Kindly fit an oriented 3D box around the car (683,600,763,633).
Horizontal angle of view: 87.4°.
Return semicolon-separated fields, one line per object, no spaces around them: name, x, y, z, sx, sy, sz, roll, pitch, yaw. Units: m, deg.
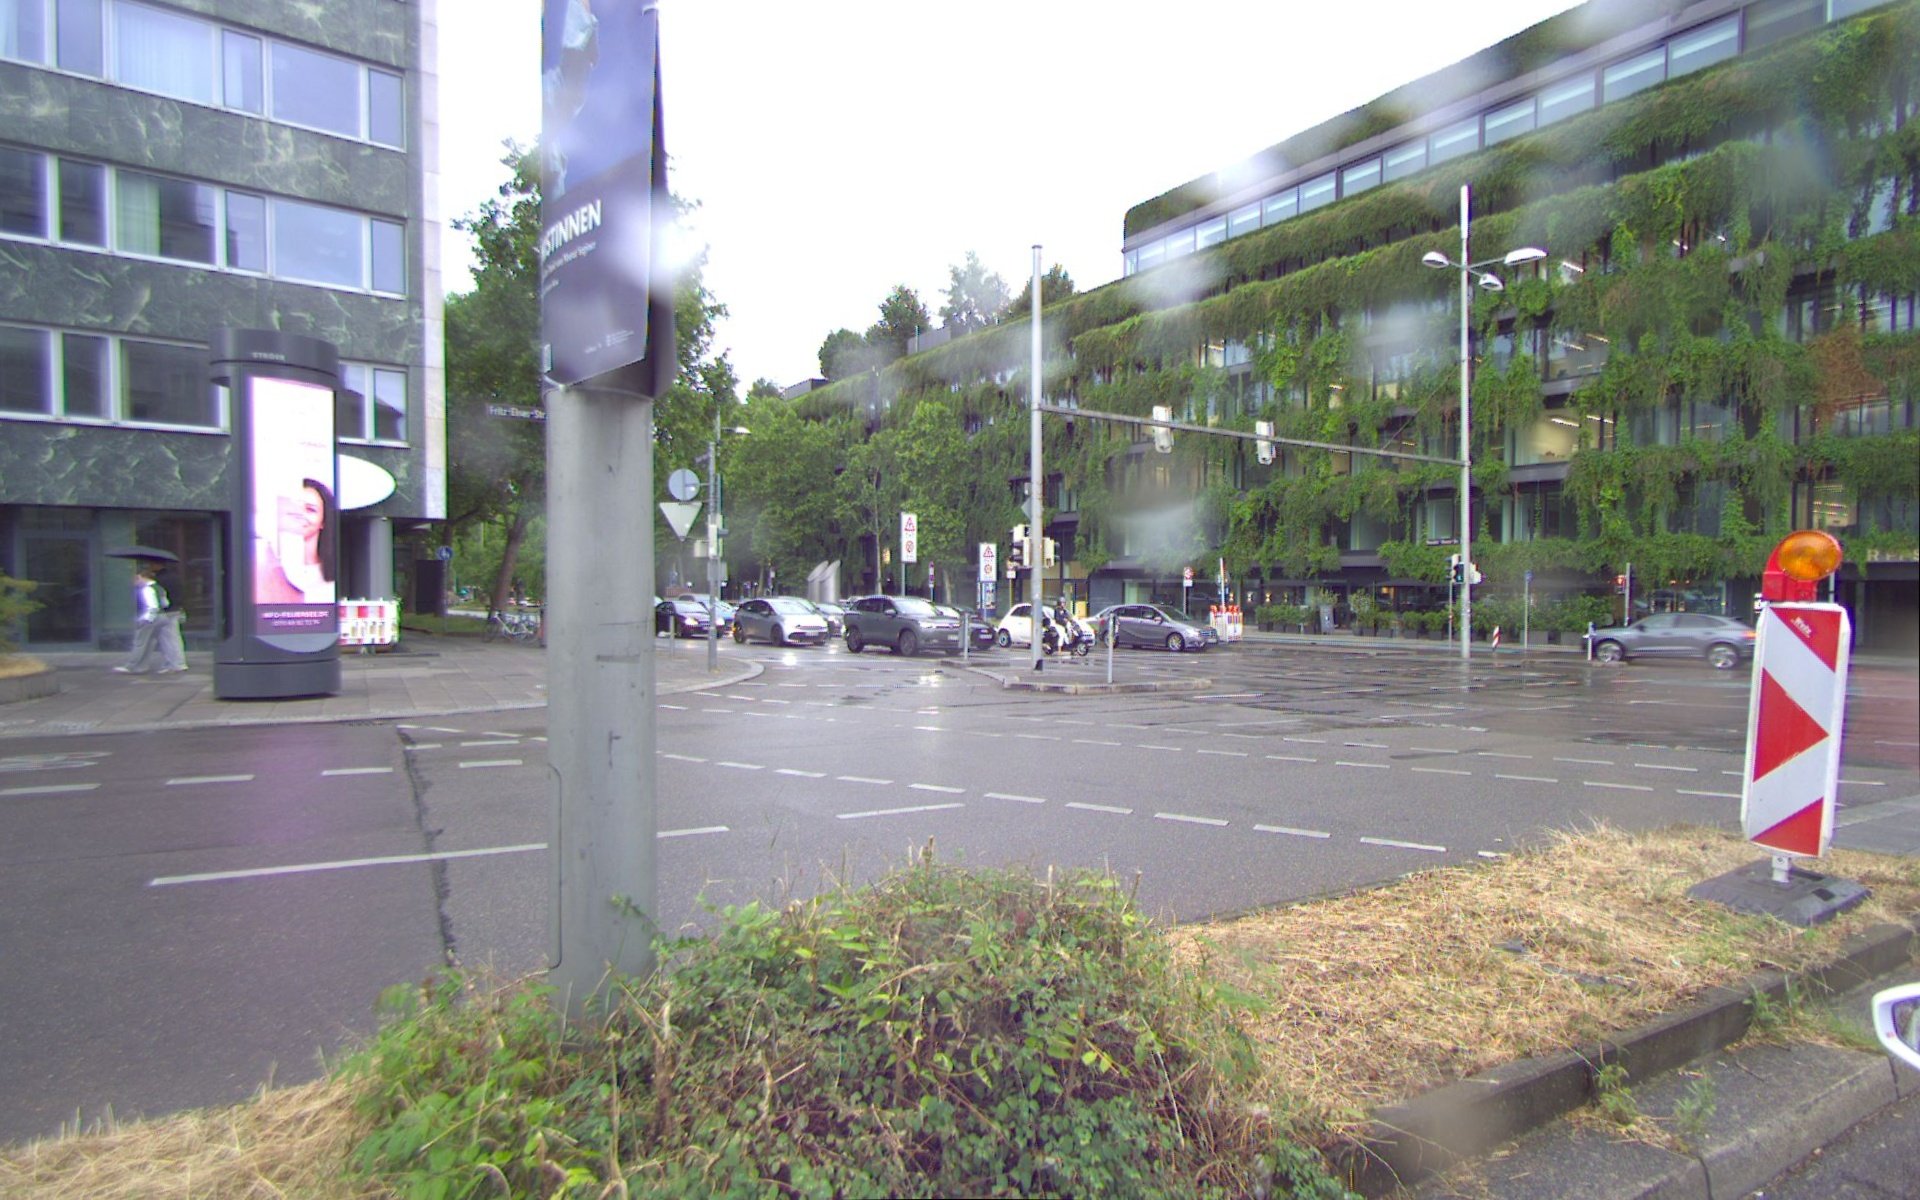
car;-10.669;0.702;45.021;1.982;1.389;4.131;1;0;-37

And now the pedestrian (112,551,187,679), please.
pedestrian;-13.242;0.244;16.428;0.715;2.040;0.598;1;0;-10

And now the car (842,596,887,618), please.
car;-7.360;0.498;77.246;1.783;1.588;3.962;2;0;-34

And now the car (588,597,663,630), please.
car;-15.029;0.570;45.034;1.982;1.389;4.131;1;0;-37

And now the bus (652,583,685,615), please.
bus;-32.014;-0.138;110.233;1.783;3.385;5.922;2;0;-34

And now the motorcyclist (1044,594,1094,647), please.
motorcyclist;3.140;0.582;28.992;1.153;1.492;0.832;2;0;40

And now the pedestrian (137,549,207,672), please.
pedestrian;-13.341;0.176;17.019;0.715;2.040;0.598;1;0;-10

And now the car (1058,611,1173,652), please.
car;6.829;1.373;44.326;4.665;1.497;1.990;3;0;42

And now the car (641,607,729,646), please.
car;-10.894;1.007;39.623;1.982;1.389;4.131;1;0;-37

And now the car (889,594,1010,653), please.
car;-0.411;0.710;32.581;1.981;1.773;3.958;1;0;-37

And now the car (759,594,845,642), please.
car;-6.285;0.665;39.669;1.841;1.791;4.139;1;0;-32

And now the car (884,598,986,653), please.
car;-1.004;0.915;37.763;1.978;1.923;4.139;1;0;-33

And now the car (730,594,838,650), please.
car;-6.012;0.700;34.034;1.982;1.773;3.956;1;0;-38

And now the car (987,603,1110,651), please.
car;2.879;0.858;33.465;1.981;1.495;3.958;1;0;-37

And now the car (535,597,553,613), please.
car;-57.197;0.665;138.157;1.975;2.040;3.972;2;0;-27

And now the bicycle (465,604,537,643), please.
bicycle;-12.970;0.666;28.411;1.765;1.066;0.581;1;0;-35

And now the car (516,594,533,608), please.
car;-62.750;0.160;144.782;1.975;2.040;3.972;1;0;-27

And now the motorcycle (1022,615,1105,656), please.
motorcycle;2.974;1.010;29.127;2.331;1.068;0.830;2;0;41

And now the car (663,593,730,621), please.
car;-13.923;0.343;52.923;1.982;1.389;4.131;1;0;-37

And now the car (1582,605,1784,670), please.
car;20.602;1.016;28.748;1.820;1.630;4.429;2;0;-45

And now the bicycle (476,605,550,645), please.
bicycle;-12.291;0.681;27.633;1.765;1.066;0.581;1;0;-35

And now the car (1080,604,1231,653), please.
car;6.625;0.935;34.409;4.842;1.508;1.922;1;0;45

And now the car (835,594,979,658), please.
car;-1.609;0.703;29.170;1.984;1.709;4.314;1;0;-41
